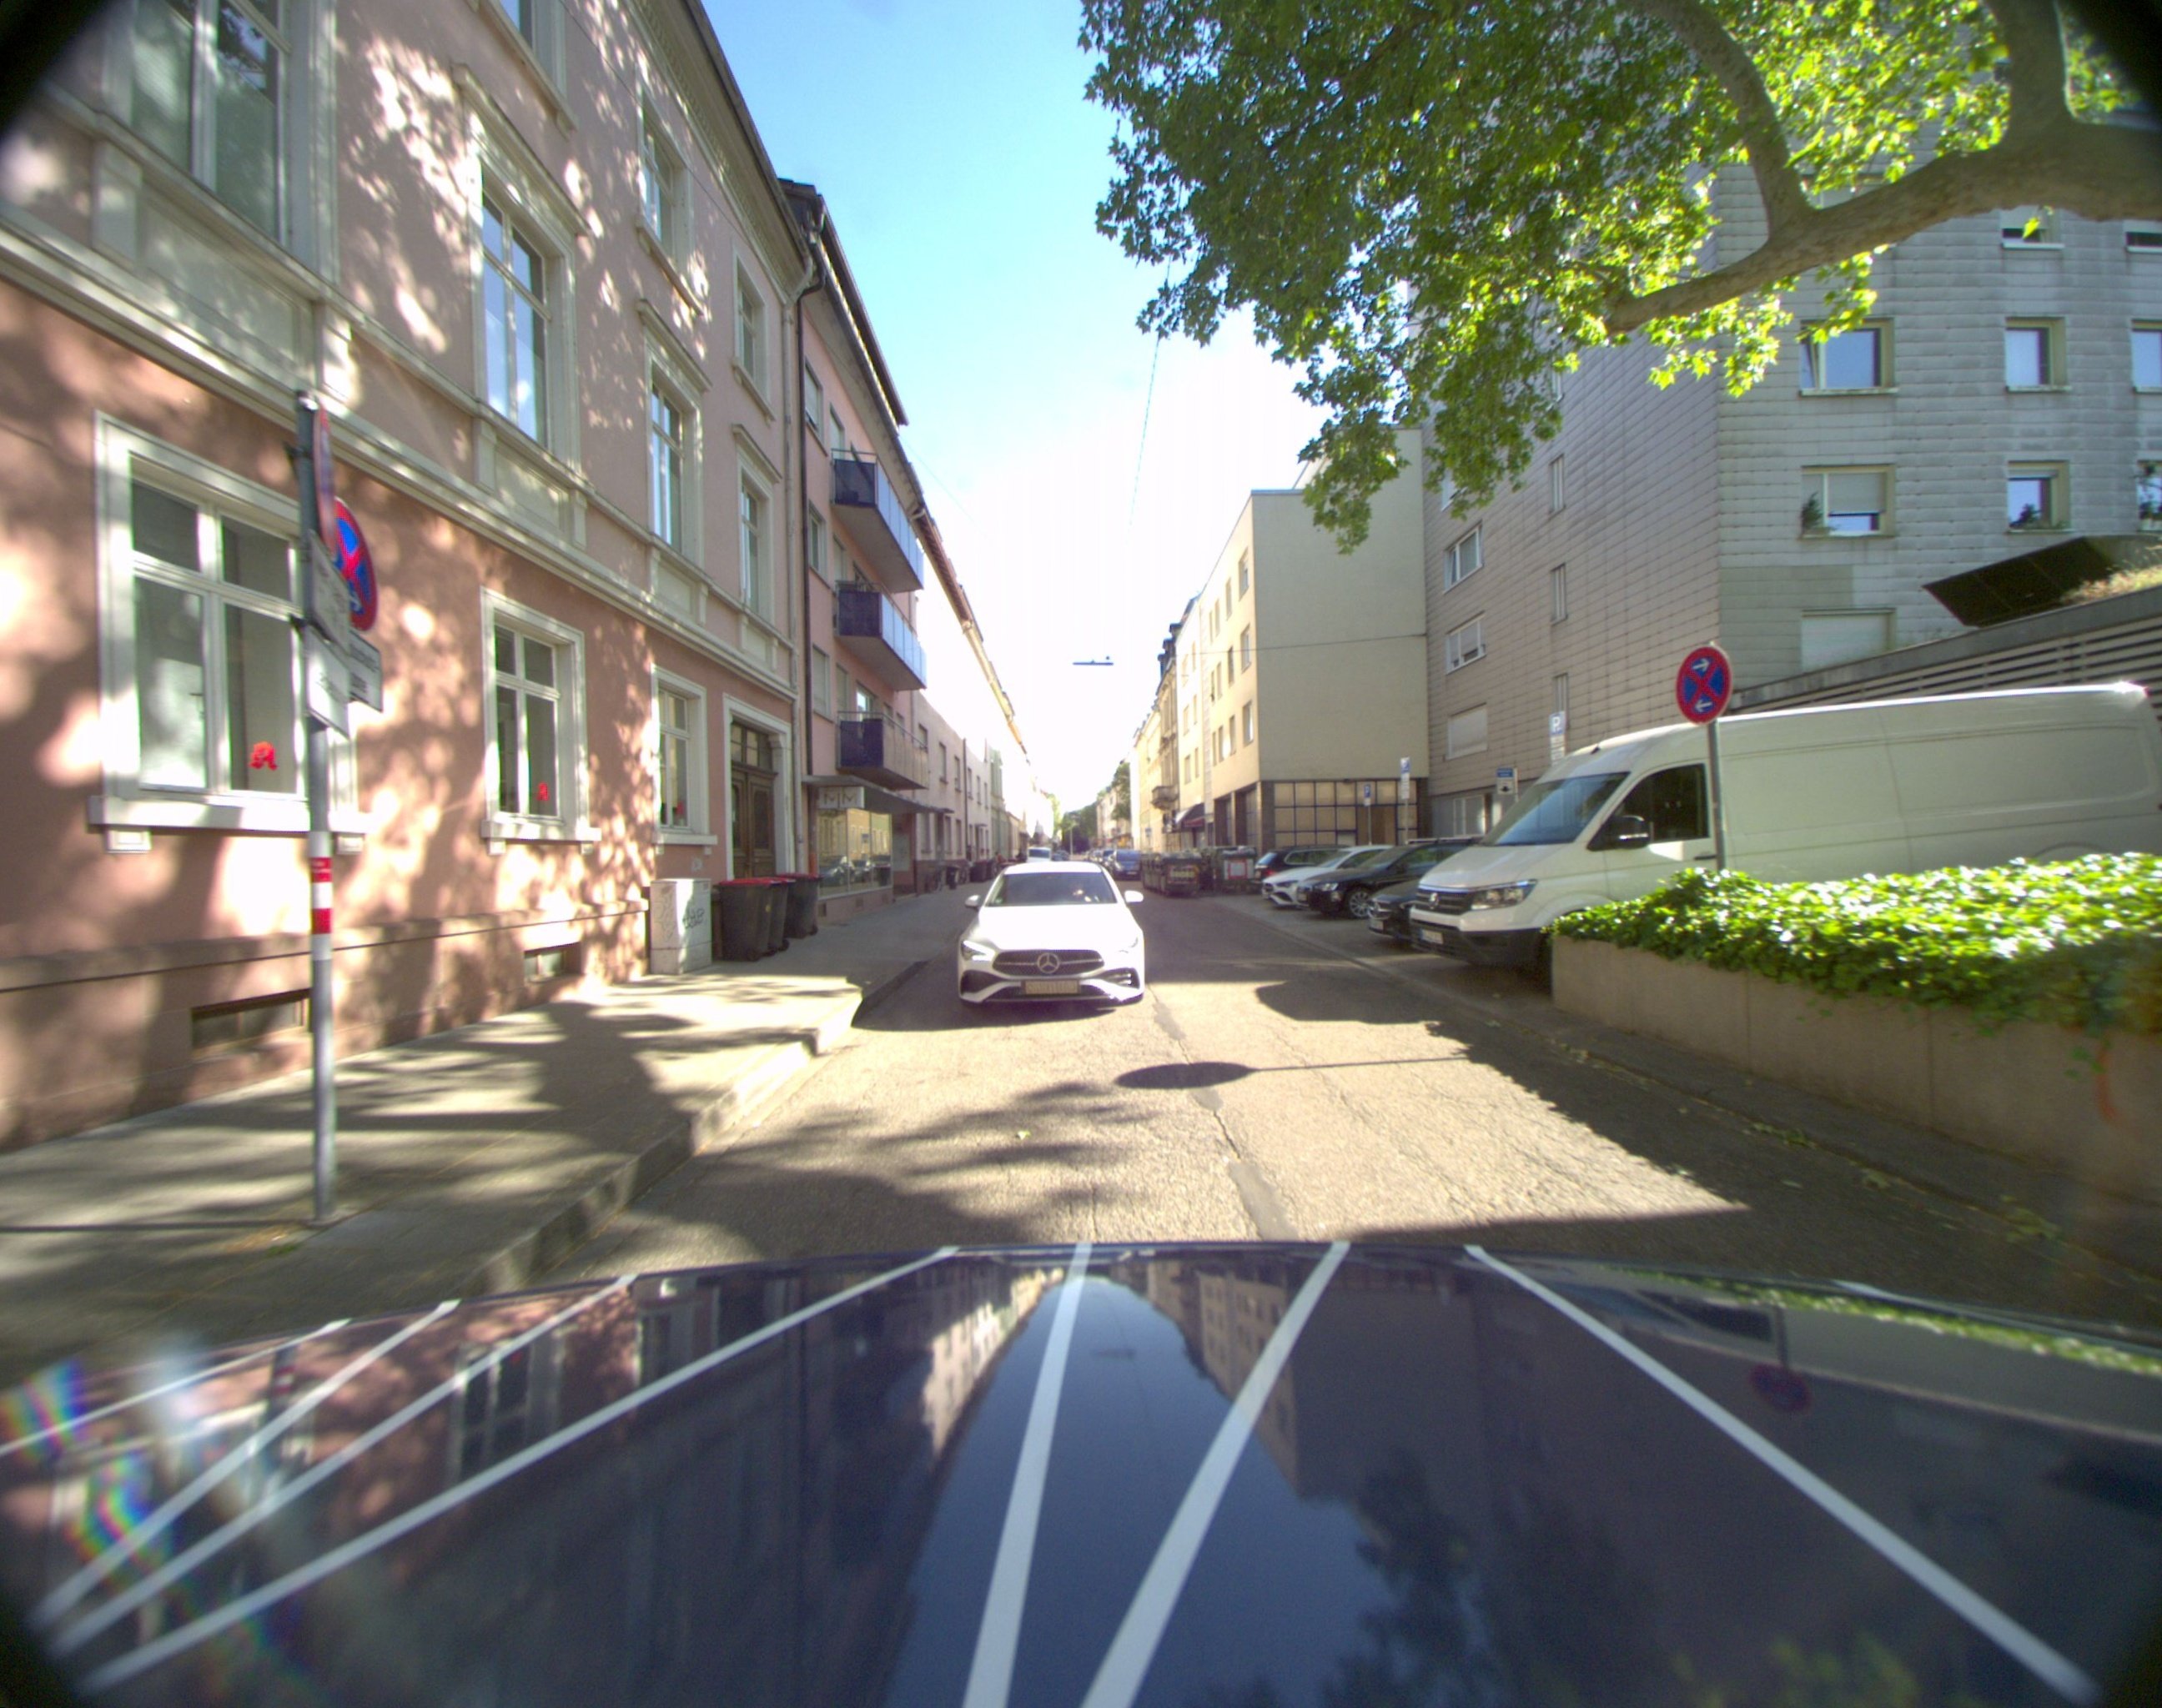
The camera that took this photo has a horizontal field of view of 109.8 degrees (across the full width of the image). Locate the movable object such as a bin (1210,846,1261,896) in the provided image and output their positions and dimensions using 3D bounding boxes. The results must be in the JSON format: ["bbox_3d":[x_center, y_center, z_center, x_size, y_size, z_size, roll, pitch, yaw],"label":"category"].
[{"bbox_3d":[4.860,0.518,23.996,1.328,1.492,1.195,-1,1,-2],"label":"movable object such as a bin"}]

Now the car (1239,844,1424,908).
[{"bbox_3d":[6.717,0.566,20.574,4.417,1.524,1.698,-1,0,-6],"label":"car"}]

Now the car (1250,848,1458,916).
[{"bbox_3d":[6.489,0.637,18.279,4.417,1.454,1.599,-1,0,-6],"label":"car"}]

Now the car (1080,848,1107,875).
[{"bbox_3d":[0.835,0.500,51.268,1.765,1.698,4.327,-1,0,1],"label":"car"}]

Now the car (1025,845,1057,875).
[{"bbox_3d":[-2.590,0.388,50.266,1.765,1.843,4.327,-1,0,1],"label":"car"}]

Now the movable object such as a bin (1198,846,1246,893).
[{"bbox_3d":[4.693,0.486,25.403,1.222,1.492,1.517,-1,1,-2],"label":"movable object such as a bin"}]

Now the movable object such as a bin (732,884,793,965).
[{"bbox_3d":[-4.421,0.964,10.582,0.570,1.052,0.612,2,1,-2],"label":"movable object such as a bin"}]

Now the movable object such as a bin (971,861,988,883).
[{"bbox_3d":[-4.889,0.859,36.564,0.717,0.996,0.546,2,1,-2],"label":"movable object such as a bin"}]

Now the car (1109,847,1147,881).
[{"bbox_3d":[2.485,0.480,40.774,1.765,1.698,4.327,-1,0,1],"label":"car"}]

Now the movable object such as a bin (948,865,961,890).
[{"bbox_3d":[-4.803,0.892,28.939,0.416,0.935,0.302,2,1,-2],"label":"movable object such as a bin"}]

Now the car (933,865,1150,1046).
[{"bbox_3d":[-0.325,0.932,8.981,1.862,1.448,4.562,-2,0,1],"label":"car"}]

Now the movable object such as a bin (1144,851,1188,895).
[{"bbox_3d":[3.009,0.658,27.022,1.247,1.492,1.925,-1,1,-2],"label":"movable object such as a bin"}]

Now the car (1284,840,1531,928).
[{"bbox_3d":[6.658,0.569,15.718,4.417,1.607,1.698,-1,1,-6],"label":"car"}]

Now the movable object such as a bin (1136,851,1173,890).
[{"bbox_3d":[2.915,0.624,30.353,1.222,1.492,1.560,-1,1,-2],"label":"movable object such as a bin"}]

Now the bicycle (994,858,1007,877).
[{"bbox_3d":[-4.701,0.777,44.261,0.490,1.089,1.932,-1,0,1],"label":"bicycle"}]

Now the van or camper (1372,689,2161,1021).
[{"bbox_3d":[6.984,0.003,7.971,6.922,2.559,2.000,-4,0,1],"label":"van or camper"}]

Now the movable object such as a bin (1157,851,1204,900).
[{"bbox_3d":[3.194,0.672,24.569,1.241,1.492,1.877,-1,1,-1],"label":"movable object such as a bin"}]

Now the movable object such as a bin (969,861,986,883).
[{"bbox_3d":[-4.909,0.843,35.940,0.717,0.996,0.546,2,1,-2],"label":"movable object such as a bin"}]

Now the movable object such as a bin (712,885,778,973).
[{"bbox_3d":[-4.400,0.962,9.981,0.570,1.078,0.654,2,1,-2],"label":"movable object such as a bin"}]

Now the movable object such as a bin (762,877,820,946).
[{"bbox_3d":[-4.781,0.938,12.557,0.718,1.078,0.618,2,1,-2],"label":"movable object such as a bin"}]

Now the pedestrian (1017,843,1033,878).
[{"bbox_3d":[-3.184,0.362,43.234,0.761,2.002,0.771,-1,1,0],"label":"pedestrian"}]

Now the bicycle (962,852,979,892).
[{"bbox_3d":[-4.964,0.768,34.256,0.402,1.725,2.107,-1,1,1],"label":"bicycle"}]

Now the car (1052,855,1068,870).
[{"bbox_3d":[-2.436,0.980,88.486,1.765,1.698,4.327,-1,0,0],"label":"car"}]

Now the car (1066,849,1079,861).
[{"bbox_3d":[-1.255,0.193,113.973,1.765,1.698,4.327,-1,0,0],"label":"car"}]

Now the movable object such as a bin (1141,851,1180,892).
[{"bbox_3d":[2.985,0.639,28.762,1.222,1.492,1.560,-1,1,-2],"label":"movable object such as a bin"}]

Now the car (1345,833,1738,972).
[{"bbox_3d":[6.221,0.616,10.602,4.415,1.524,1.698,-3,1,-1],"label":"car"}]

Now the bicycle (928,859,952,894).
[{"bbox_3d":[-4.874,0.759,26.396,0.402,1.144,2.025,-1,0,1],"label":"bicycle"}]
